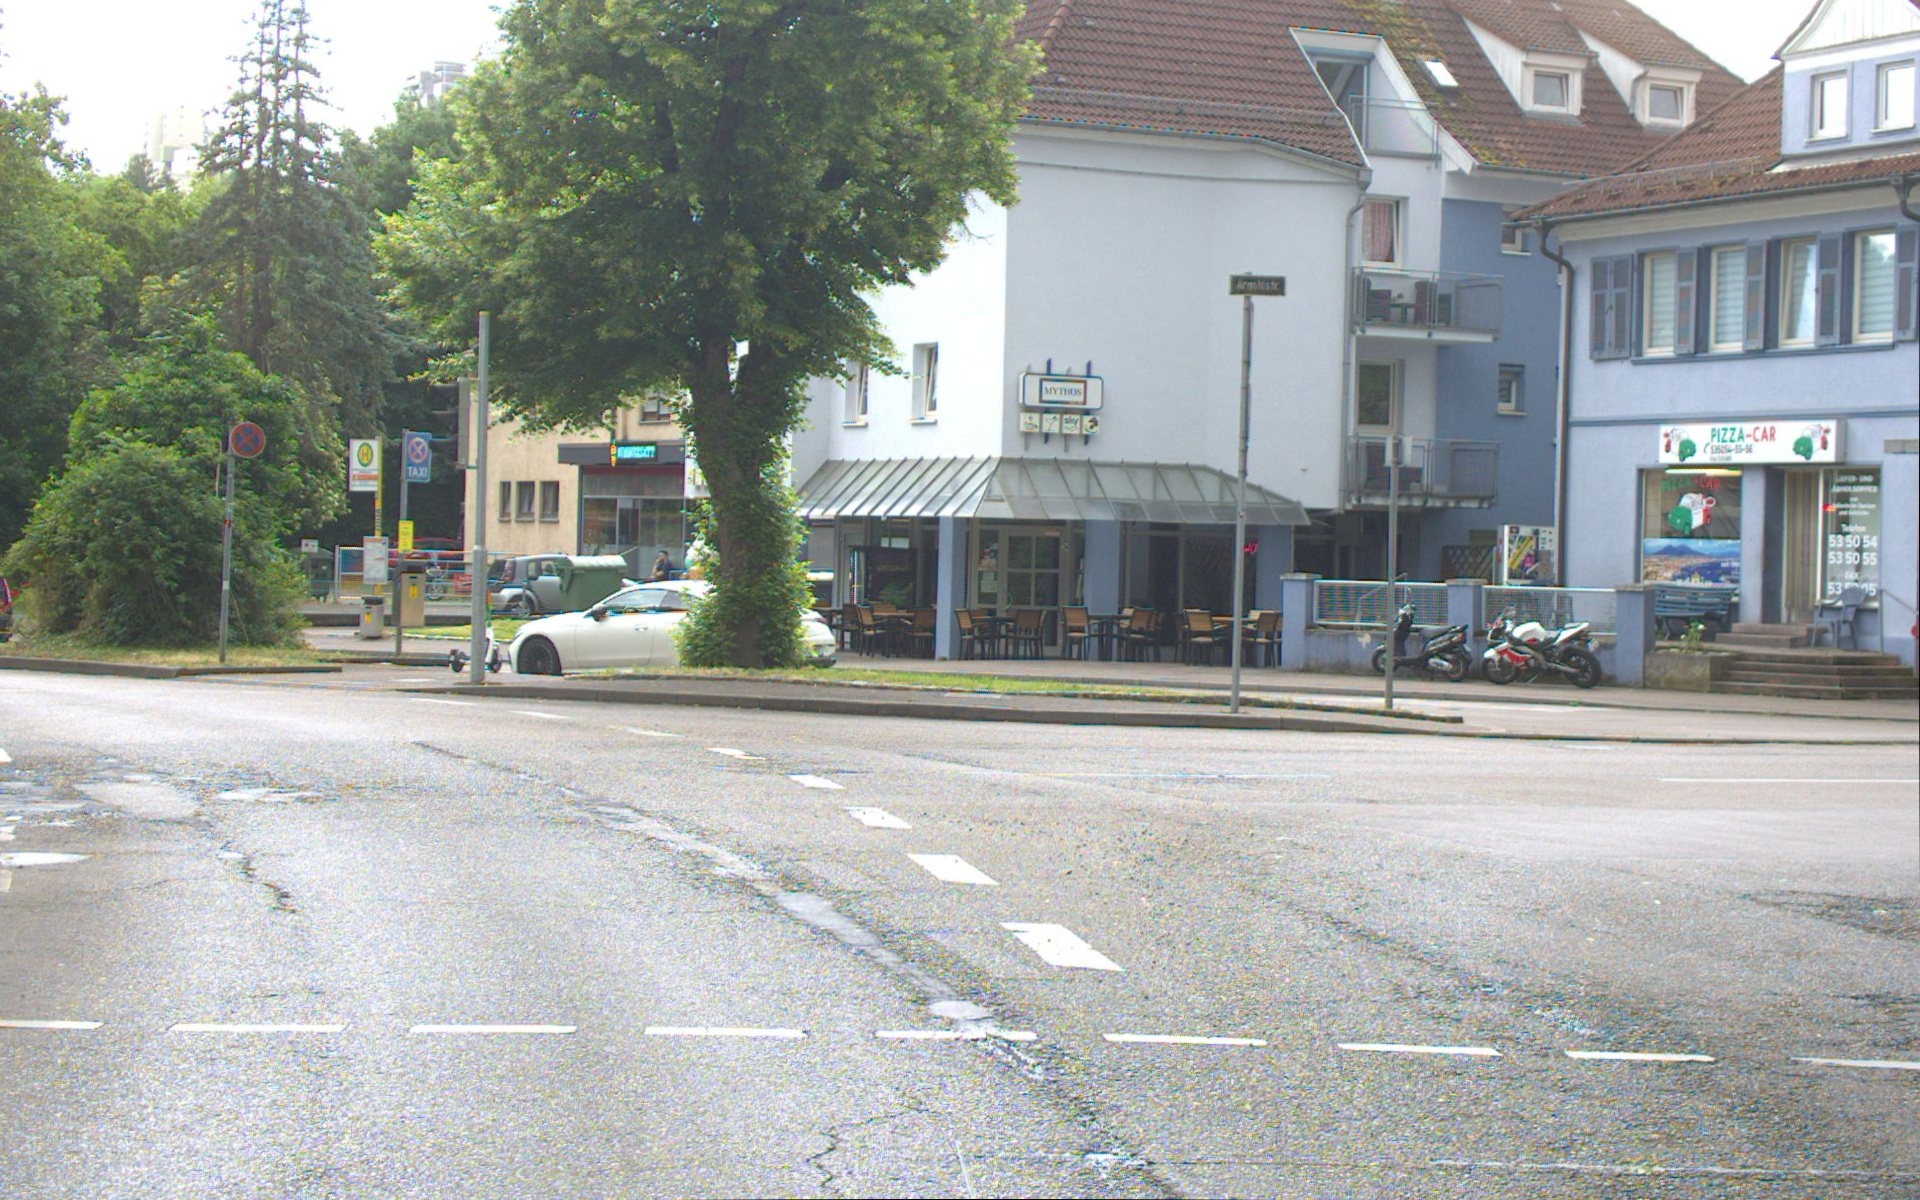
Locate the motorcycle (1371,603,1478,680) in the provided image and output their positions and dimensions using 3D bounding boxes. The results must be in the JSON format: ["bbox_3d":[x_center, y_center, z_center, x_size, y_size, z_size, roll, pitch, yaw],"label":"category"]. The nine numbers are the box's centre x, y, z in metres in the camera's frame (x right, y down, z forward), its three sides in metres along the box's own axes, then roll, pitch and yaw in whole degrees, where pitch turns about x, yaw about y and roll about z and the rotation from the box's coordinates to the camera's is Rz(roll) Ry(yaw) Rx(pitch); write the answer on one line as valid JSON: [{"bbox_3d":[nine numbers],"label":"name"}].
[{"bbox_3d":[6.776,0.596,50.130,1.458,1.085,0.523,1,1,35],"label":"motorcycle"}]

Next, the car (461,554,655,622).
[{"bbox_3d":[-8.854,-0.263,75.627,3.936,1.437,1.753,1,1,-20],"label":"car"}]

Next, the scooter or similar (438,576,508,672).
[{"bbox_3d":[-6.028,0.287,42.614,0.442,1.171,1.437,1,1,9],"label":"scooter or similar"}]

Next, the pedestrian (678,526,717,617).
[{"bbox_3d":[-4.526,-0.491,59.263,0.543,1.554,0.467,0,0,13],"label":"pedestrian"}]

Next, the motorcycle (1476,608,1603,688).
[{"bbox_3d":[8.151,0.667,48.361,1.628,1.085,0.626,1,1,32],"label":"motorcycle"}]

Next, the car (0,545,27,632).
[{"bbox_3d":[-16.418,-0.211,53.519,3.322,1.347,1.778,1,1,27],"label":"car"}]

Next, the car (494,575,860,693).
[{"bbox_3d":[-3.803,0.425,45.758,4.709,1.405,1.898,2,1,35],"label":"car"}]

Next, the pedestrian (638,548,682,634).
[{"bbox_3d":[-7.052,-0.218,80.707,0.837,2.007,1.056,1,1,-14],"label":"pedestrian"}]
